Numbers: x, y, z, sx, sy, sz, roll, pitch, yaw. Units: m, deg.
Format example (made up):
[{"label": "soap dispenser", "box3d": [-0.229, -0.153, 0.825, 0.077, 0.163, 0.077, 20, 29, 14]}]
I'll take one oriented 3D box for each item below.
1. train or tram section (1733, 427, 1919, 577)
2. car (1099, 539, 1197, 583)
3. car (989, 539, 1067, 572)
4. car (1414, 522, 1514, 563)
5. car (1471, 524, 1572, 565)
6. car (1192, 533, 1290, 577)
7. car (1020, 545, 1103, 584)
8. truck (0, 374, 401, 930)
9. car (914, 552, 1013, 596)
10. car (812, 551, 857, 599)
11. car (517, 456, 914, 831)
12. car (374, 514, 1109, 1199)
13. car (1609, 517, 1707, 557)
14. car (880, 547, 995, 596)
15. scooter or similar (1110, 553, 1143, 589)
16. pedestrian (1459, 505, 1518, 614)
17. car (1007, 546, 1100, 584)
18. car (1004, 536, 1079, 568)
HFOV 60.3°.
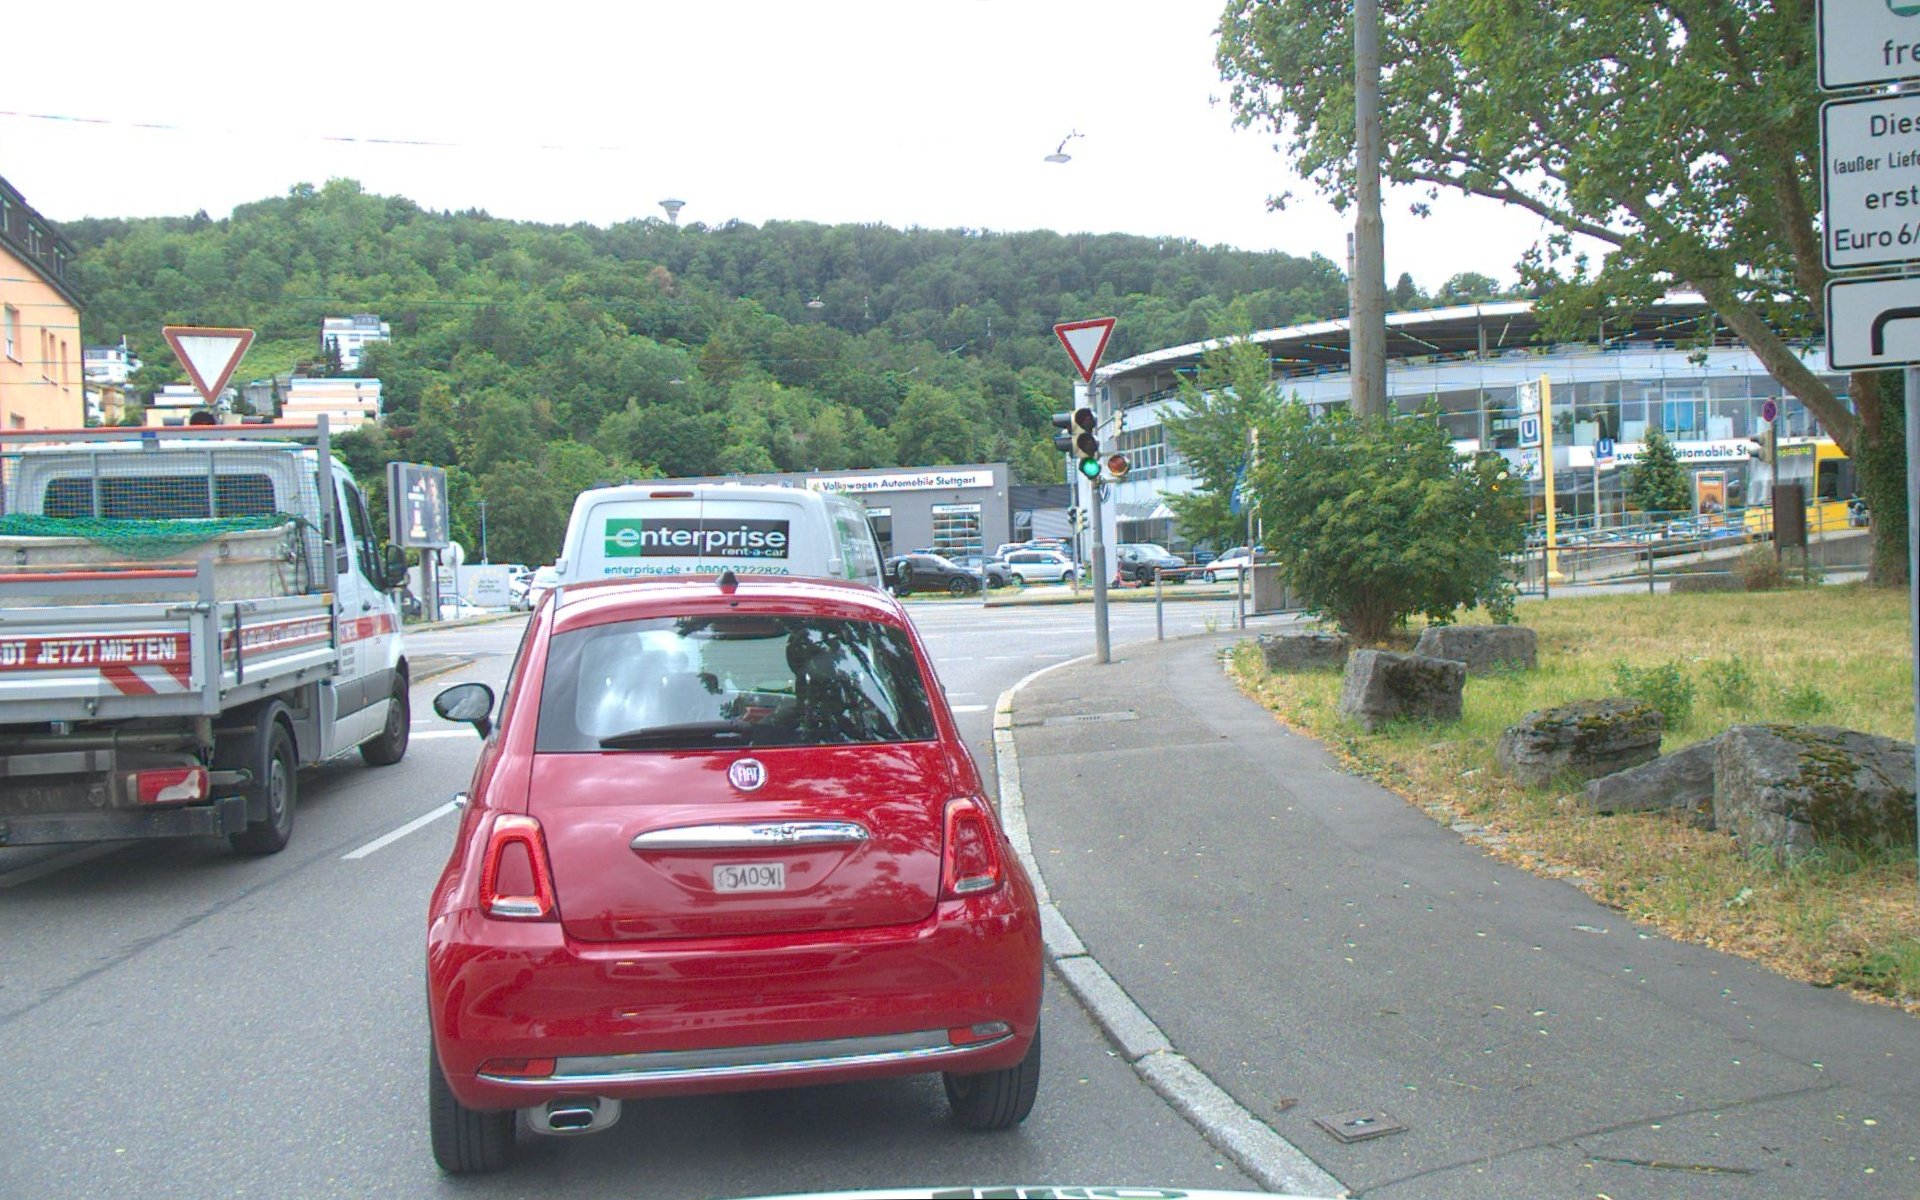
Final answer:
[{"label": "train or tram section", "box3d": [28.352, -3.027, 49.078, 11.718, 4.035, 2.729, -4, 1, -24]}, {"label": "car", "box3d": [7.378, -1.519, 65.239, 1.970, 1.668, 3.965, -2, 1, -27]}, {"label": "car", "box3d": [3.926, -2.577, 96.365, 4.404, 1.759, 1.999, 1, 0, -1]}, {"label": "car", "box3d": [21.601, -2.466, 71.010, 1.899, 1.581, 3.965, -4, 2, -27]}, {"label": "car", "box3d": [24.525, -2.408, 72.359, 1.899, 1.581, 3.965, -4, 2, -27]}, {"label": "car", "box3d": [11.408, -1.798, 67.292, 1.970, 1.668, 3.965, 1, 0, -27]}, {"label": "car", "box3d": [5.543, -1.949, 90.935, 4.404, 2.032, 2.000, 1, 0, -1]}, {"label": "truck", "box3d": [-4.864, 0.142, 10.090, 2.275, 2.463, 5.633, -2, 2, -15]}, {"label": "car", "box3d": [0.119, -1.080, 70.163, 3.914, 1.736, 1.996, 1, 0, -10]}, {"label": "car", "box3d": [-5.984, -1.156, 79.116, 1.954, 2.049, 5.014, -3, -1, -4]}, {"label": "car", "box3d": [-1.452, 0.144, 11.729, 1.957, 2.075, 4.834, 1, 2, 1]}, {"label": "car", "box3d": [-0.866, 0.556, 5.785, 1.667, 1.551, 3.989, 1, 1, -12]}, {"label": "car", "box3d": [31.640, -2.841, 75.047, 1.892, 1.581, 3.979, -3, 1, -19]}, {"label": "car", "box3d": [-0.829, -1.068, 61.464, 3.902, 1.668, 2.003, 1, 4, 13]}, {"label": "scooter or similar", "box3d": [6.312, -1.090, 62.716, 1.177, 1.310, 0.575, 1, -1, -5]}, {"label": "pedestrian", "box3d": [8.473, -0.640, 26.516, 0.660, 1.719, 0.600, 1, -1, -22]}, {"label": "car", "box3d": [4.572, -1.701, 81.322, 4.403, 1.759, 2.000, 1, 0, 0]}, {"label": "car", "box3d": [4.922, -2.914, 100.715, 4.404, 1.759, 1.999, 1, 0, -1]}]
